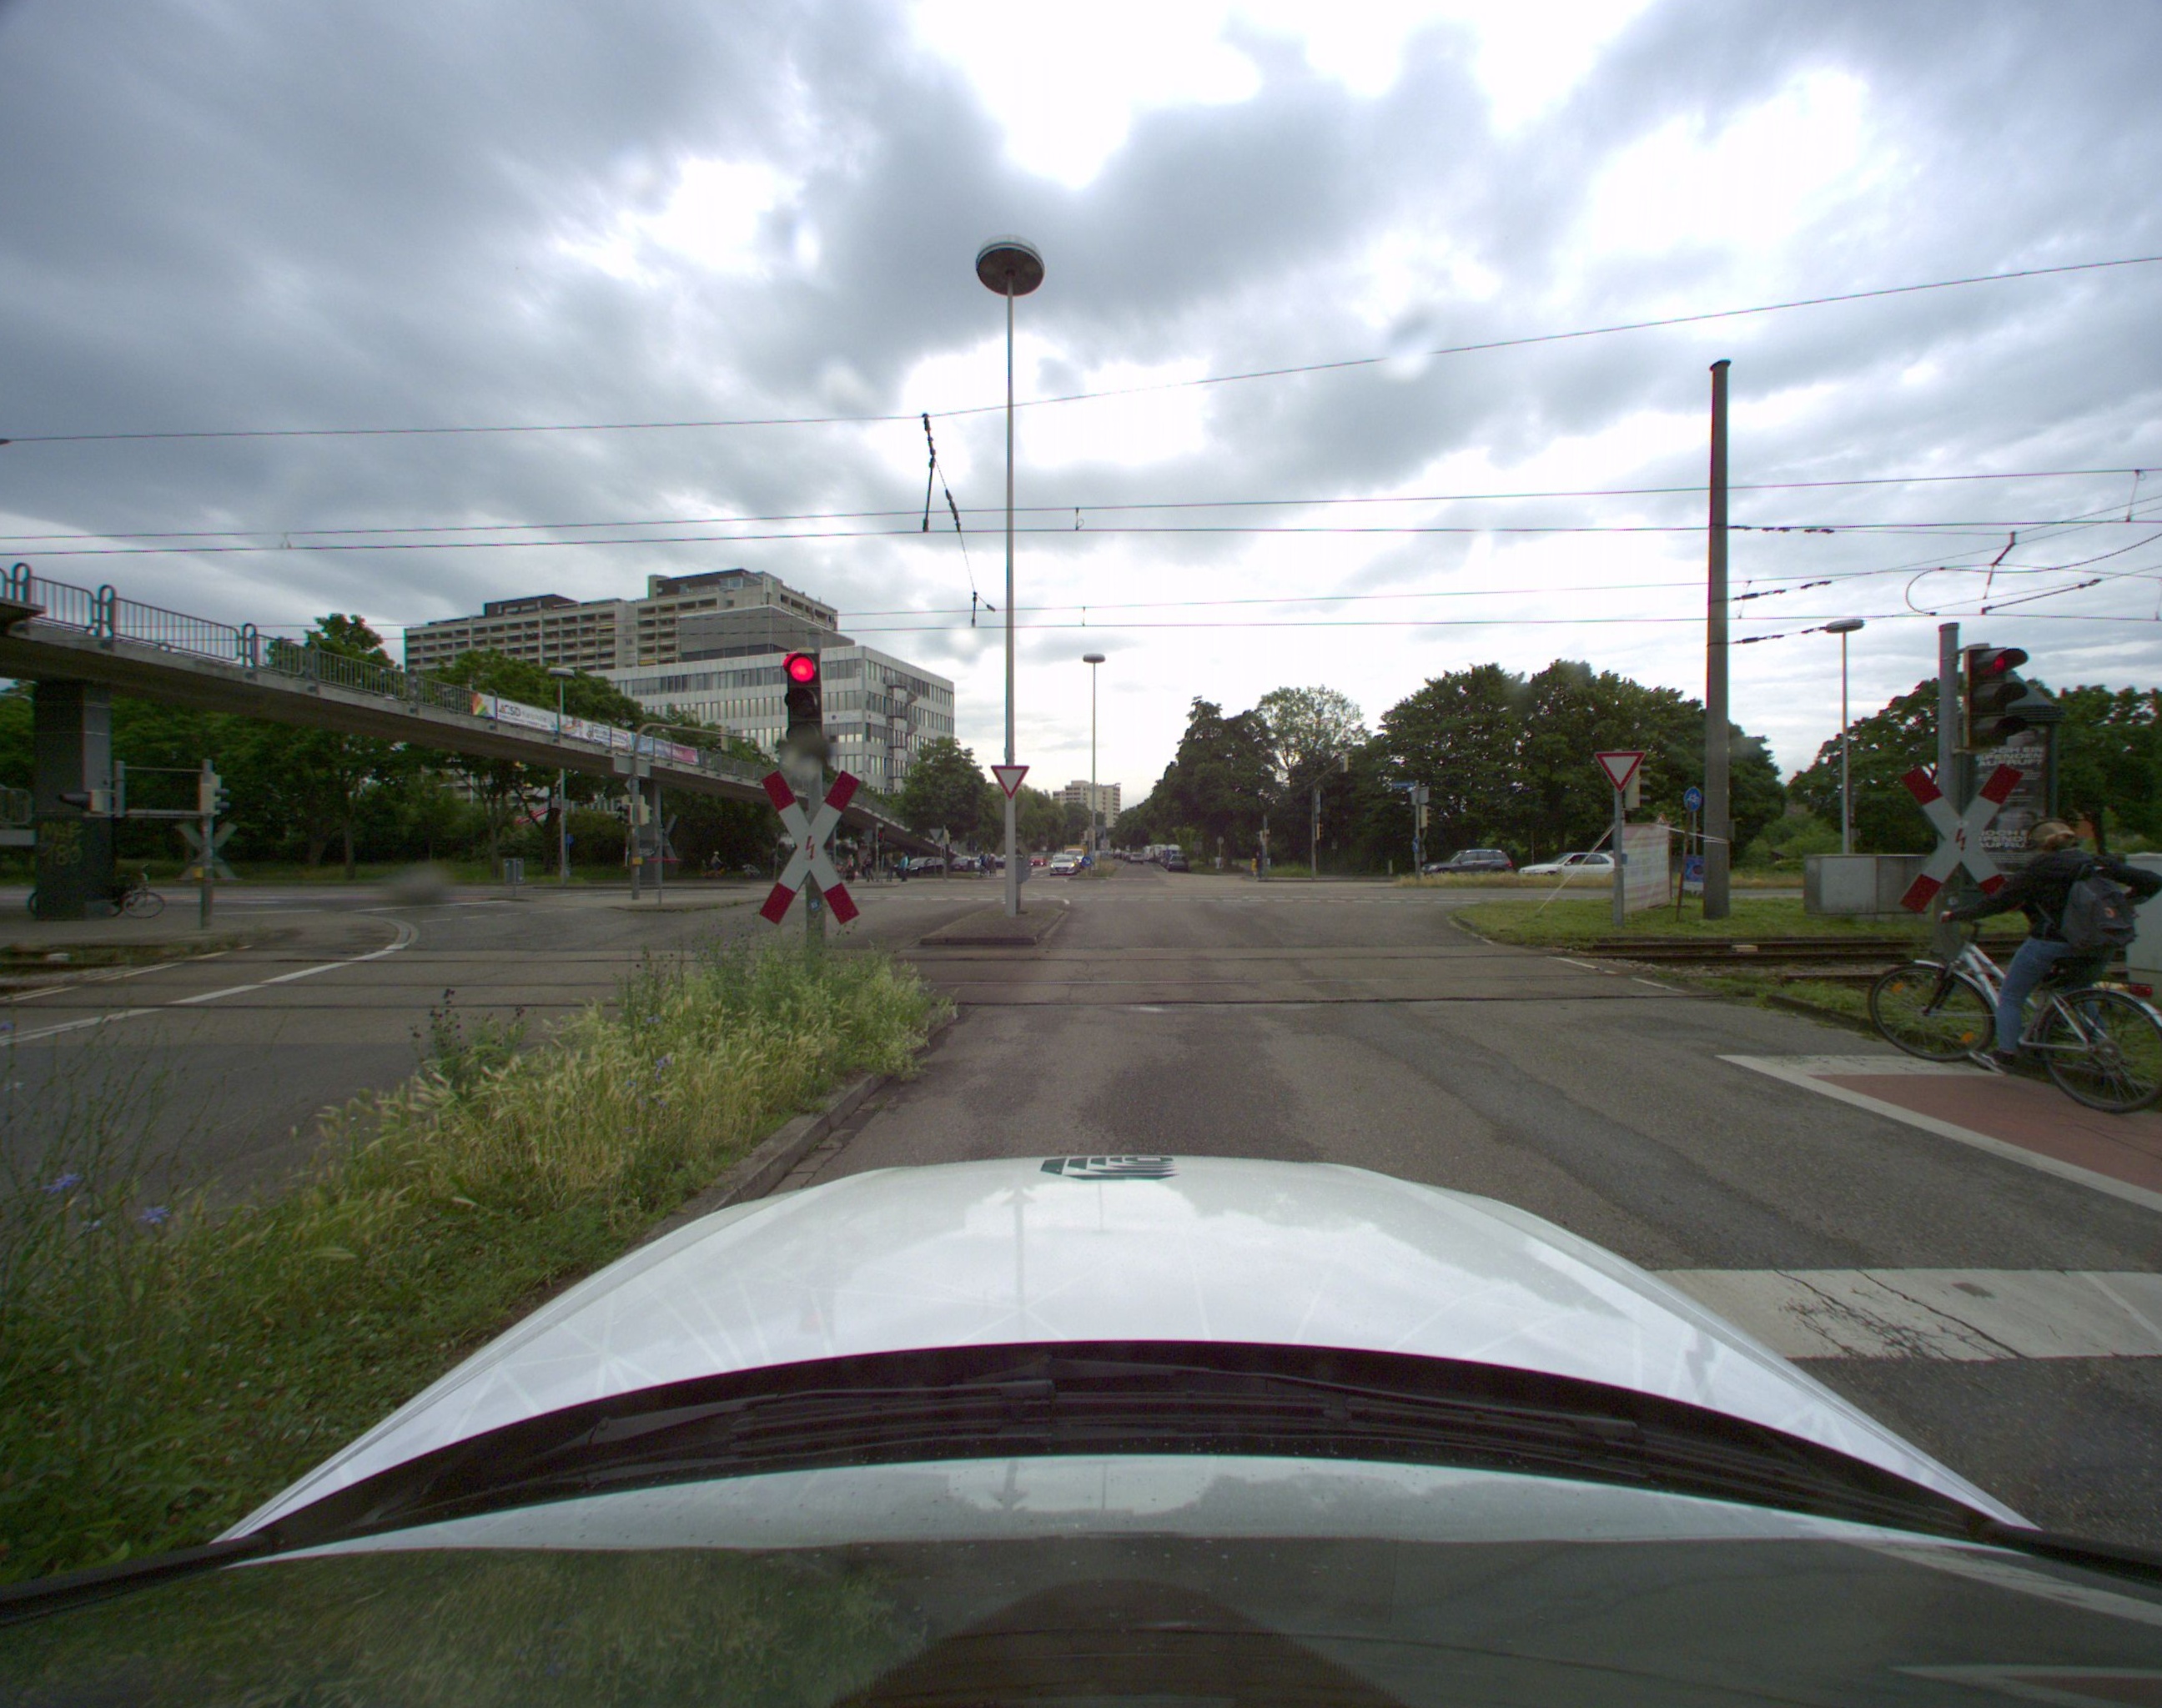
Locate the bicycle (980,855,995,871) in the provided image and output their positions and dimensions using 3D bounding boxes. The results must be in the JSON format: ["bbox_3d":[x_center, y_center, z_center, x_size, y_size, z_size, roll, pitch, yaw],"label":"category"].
[{"bbox_3d":[-6.632,0.612,57.925,0.724,1.101,2.265,0,0,2],"label":"bicycle"}]

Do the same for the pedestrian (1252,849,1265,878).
[{"bbox_3d":[10.701,0.575,49.112,0.654,1.750,0.459,0,0,1],"label":"pedestrian"}]

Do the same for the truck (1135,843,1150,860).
[{"bbox_3d":[10.798,-0.443,142.907,1.988,3.009,5.768,0,-1,-1],"label":"truck"}]

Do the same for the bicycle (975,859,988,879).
[{"bbox_3d":[-6.747,0.998,55.368,0.541,1.267,2.112,0,0,2],"label":"bicycle"}]

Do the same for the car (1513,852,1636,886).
[{"bbox_3d":[20.475,0.618,33.929,4.120,1.357,1.648,0,0,2],"label":"car"}]

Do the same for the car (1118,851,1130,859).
[{"bbox_3d":[7.390,0.157,141.673,2.013,1.505,4.002,0,0,2],"label":"car"}]

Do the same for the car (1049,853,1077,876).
[{"bbox_3d":[-1.250,0.721,58.126,1.782,1.519,4.327,0,0,2],"label":"car"}]

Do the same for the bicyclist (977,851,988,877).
[{"bbox_3d":[-6.762,0.682,55.976,0.642,1.768,0.647,0,0,1],"label":"bicyclist"}]

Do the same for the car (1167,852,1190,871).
[{"bbox_3d":[8.800,0.623,73.885,1.777,1.662,4.002,0,0,2],"label":"car"}]

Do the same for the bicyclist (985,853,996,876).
[{"bbox_3d":[-6.512,0.766,58.735,0.676,1.594,0.695,0,-1,1],"label":"bicyclist"}]

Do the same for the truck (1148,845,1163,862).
[{"bbox_3d":[12.103,-0.064,132.072,1.987,2.573,5.377,0,-1,0],"label":"truck"}]

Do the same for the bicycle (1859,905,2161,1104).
[{"bbox_3d":[6.074,0.869,5.165,0.381,0.980,2.030,0,-1,2],"label":"bicycle"}]

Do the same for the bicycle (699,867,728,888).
[{"bbox_3d":[-24.272,1.543,53.792,1.710,1.304,0.386,0,0,-20],"label":"bicycle"}]

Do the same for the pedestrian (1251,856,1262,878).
[{"bbox_3d":[10.730,0.780,49.792,0.525,1.342,0.525,0,0,1],"label":"pedestrian"}]

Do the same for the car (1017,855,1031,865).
[{"bbox_3d":[-8.780,0.881,125.947,1.665,1.552,4.003,0,0,3],"label":"car"}]

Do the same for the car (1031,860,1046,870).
[{"bbox_3d":[-5.534,1.434,106.652,1.505,1.390,3.537,0,-1,4],"label":"car"}]

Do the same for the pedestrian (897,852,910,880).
[{"bbox_3d":[-10.064,0.669,46.197,0.685,1.605,0.487,0,0,-3],"label":"pedestrian"}]

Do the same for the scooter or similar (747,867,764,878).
[{"bbox_3d":[-22.043,1.270,55.108,1.001,0.715,0.402,0,0,-34],"label":"scooter or similar"}]

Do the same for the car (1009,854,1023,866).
[{"bbox_3d":[-8.534,0.791,107.784,1.439,1.552,3.666,0,0,2],"label":"car"}]

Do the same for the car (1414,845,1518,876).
[{"bbox_3d":[19.547,0.331,41.507,4.447,1.504,1.847,0,0,2],"label":"car"}]

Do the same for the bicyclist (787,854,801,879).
[{"bbox_3d":[-19.258,0.842,54.640,0.754,1.625,0.521,0,0,-40],"label":"bicyclist"}]

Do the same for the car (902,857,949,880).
[{"bbox_3d":[-10.989,1.022,57.763,1.659,1.552,4.017,0,0,16],"label":"car"}]

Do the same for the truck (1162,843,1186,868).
[{"bbox_3d":[10.281,0.210,90.662,2.166,2.656,6.249,-1,-1,2],"label":"truck"}]

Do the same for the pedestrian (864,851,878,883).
[{"bbox_3d":[-11.876,0.741,45.996,0.636,1.803,0.800,0,0,-7],"label":"pedestrian"}]

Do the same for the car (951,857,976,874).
[{"bbox_3d":[-11.202,1.045,78.084,1.665,1.552,3.894,0,0,3],"label":"car"}]

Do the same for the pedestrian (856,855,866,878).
[{"bbox_3d":[-14.757,0.836,54.648,0.580,1.579,0.777,0,0,-16],"label":"pedestrian"}]

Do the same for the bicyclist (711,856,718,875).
[{"bbox_3d":[-24.192,0.739,53.786,0.406,1.253,0.275,0,0,-18],"label":"bicyclist"}]

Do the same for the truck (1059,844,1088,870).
[{"bbox_3d":[-0.621,0.251,72.075,2.146,2.199,5.846,0,0,4],"label":"truck"}]

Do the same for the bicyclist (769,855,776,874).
[{"bbox_3d":[-21.134,0.710,55.795,0.385,1.303,0.275,0,0,-35],"label":"bicyclist"}]

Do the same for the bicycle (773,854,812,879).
[{"bbox_3d":[-19.316,0.842,54.550,2.378,1.625,0.522,0,0,-39],"label":"bicycle"}]

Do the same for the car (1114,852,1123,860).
[{"bbox_3d":[7.590,0.411,162.935,1.549,1.505,3.998,0,0,-1],"label":"car"}]

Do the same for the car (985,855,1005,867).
[{"bbox_3d":[-10.085,0.825,95.587,1.757,1.395,4.002,0,0,2],"label":"car"}]

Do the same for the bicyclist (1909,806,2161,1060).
[{"bbox_3d":[6.062,0.457,5.152,0.619,1.424,0.961,4,0,1],"label":"bicyclist"}]

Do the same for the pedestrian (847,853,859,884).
[{"bbox_3d":[-12.674,0.795,45.263,0.619,1.691,0.403,0,0,-12],"label":"pedestrian"}]

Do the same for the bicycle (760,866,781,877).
[{"bbox_3d":[-21.236,1.177,55.717,1.303,0.692,0.287,0,0,-34],"label":"bicycle"}]

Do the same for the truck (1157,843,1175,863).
[{"bbox_3d":[12.506,-0.172,119.982,1.988,2.838,5.727,0,0,-2],"label":"truck"}]

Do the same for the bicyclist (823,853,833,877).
[{"bbox_3d":[-17.735,0.758,57.087,0.563,1.644,0.532,0,-1,2],"label":"bicyclist"}]

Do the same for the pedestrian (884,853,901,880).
[{"bbox_3d":[-10.722,0.718,46.256,0.917,1.511,0.402,0,0,-10],"label":"pedestrian"}]

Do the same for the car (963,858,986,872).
[{"bbox_3d":[-10.856,1.105,83.574,1.665,1.387,3.898,0,0,3],"label":"car"}]

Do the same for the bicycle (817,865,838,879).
[{"bbox_3d":[-17.733,1.226,56.980,0.628,0.925,2.524,0,0,2],"label":"bicycle"}]

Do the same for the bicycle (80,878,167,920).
[{"bbox_3d":[-21.695,1.007,18.442,2.017,0.921,0.375,0,0,13],"label":"bicycle"}]

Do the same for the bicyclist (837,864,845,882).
[{"bbox_3d":[-16.355,1.288,55.603,0.403,1.181,0.378,0,1,4],"label":"bicyclist"}]

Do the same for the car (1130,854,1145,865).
[{"bbox_3d":[7.995,0.810,115.193,2.013,1.505,4.002,0,0,2],"label":"car"}]
